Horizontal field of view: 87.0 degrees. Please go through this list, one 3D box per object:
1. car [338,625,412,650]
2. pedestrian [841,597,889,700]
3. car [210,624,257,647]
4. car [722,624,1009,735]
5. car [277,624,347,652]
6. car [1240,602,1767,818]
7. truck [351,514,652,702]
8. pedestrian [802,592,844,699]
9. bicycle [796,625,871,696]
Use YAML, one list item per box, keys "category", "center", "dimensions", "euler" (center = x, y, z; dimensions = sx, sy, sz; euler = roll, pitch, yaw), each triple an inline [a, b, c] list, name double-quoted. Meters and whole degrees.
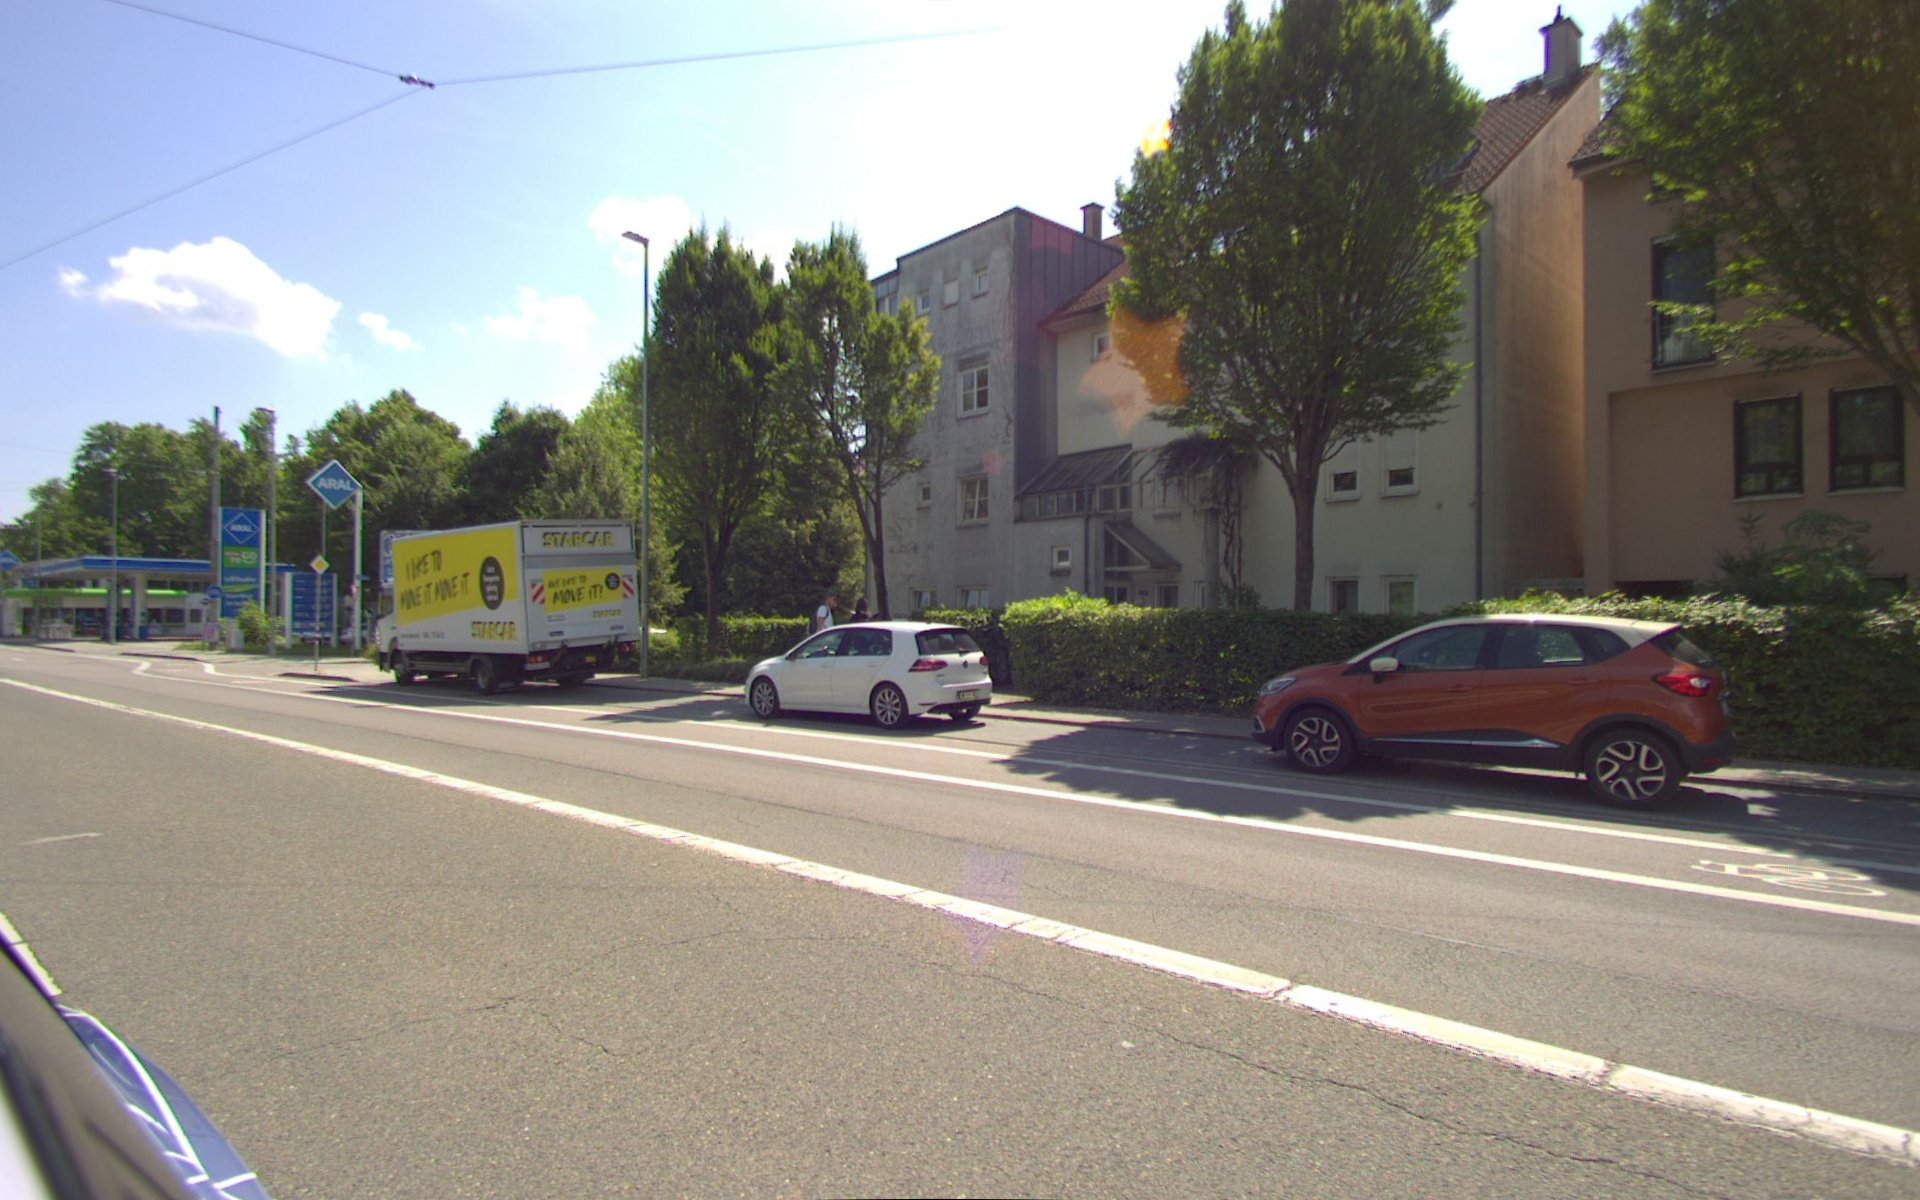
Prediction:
- category: "car"
  center: [-36.557, 2.324, 63.258]
  dimensions: [3.932, 1.556, 1.824]
  euler: [1, -2, -32]
- category: "pedestrian"
  center: [-1.702, 0.861, 18.219]
  dimensions: [0.697, 1.808, 0.681]
  euler: [-1, -2, 13]
- category: "car"
  center: [-55.402, 2.694, 77.123]
  dimensions: [3.994, 1.683, 1.826]
  euler: [-1, -2, 37]
- category: "car"
  center: [-1.514, 1.080, 15.041]
  dimensions: [4.393, 1.421, 1.639]
  euler: [-1, -2, 40]
- category: "car"
  center: [-32.565, 1.906, 50.822]
  dimensions: [3.996, 1.347, 1.795]
  euler: [-1, -2, 40]
- category: "car"
  center: [4.971, 0.859, 9.593]
  dimensions: [4.170, 1.621, 1.639]
  euler: [-1, -1, 40]
- category: "truck"
  center: [-10.583, 0.186, 22.865]
  dimensions: [8.162, 3.575, 2.803]
  euler: [-1, 1, 40]
- category: "pedestrian"
  center: [-2.536, 0.826, 18.646]
  dimensions: [0.633, 1.937, 0.711]
  euler: [0, -2, -20]
- category: "bicycle"
  center: [-2.454, 1.139, 19.478]
  dimensions: [1.664, 1.326, 0.451]
  euler: [-2, -2, 41]
